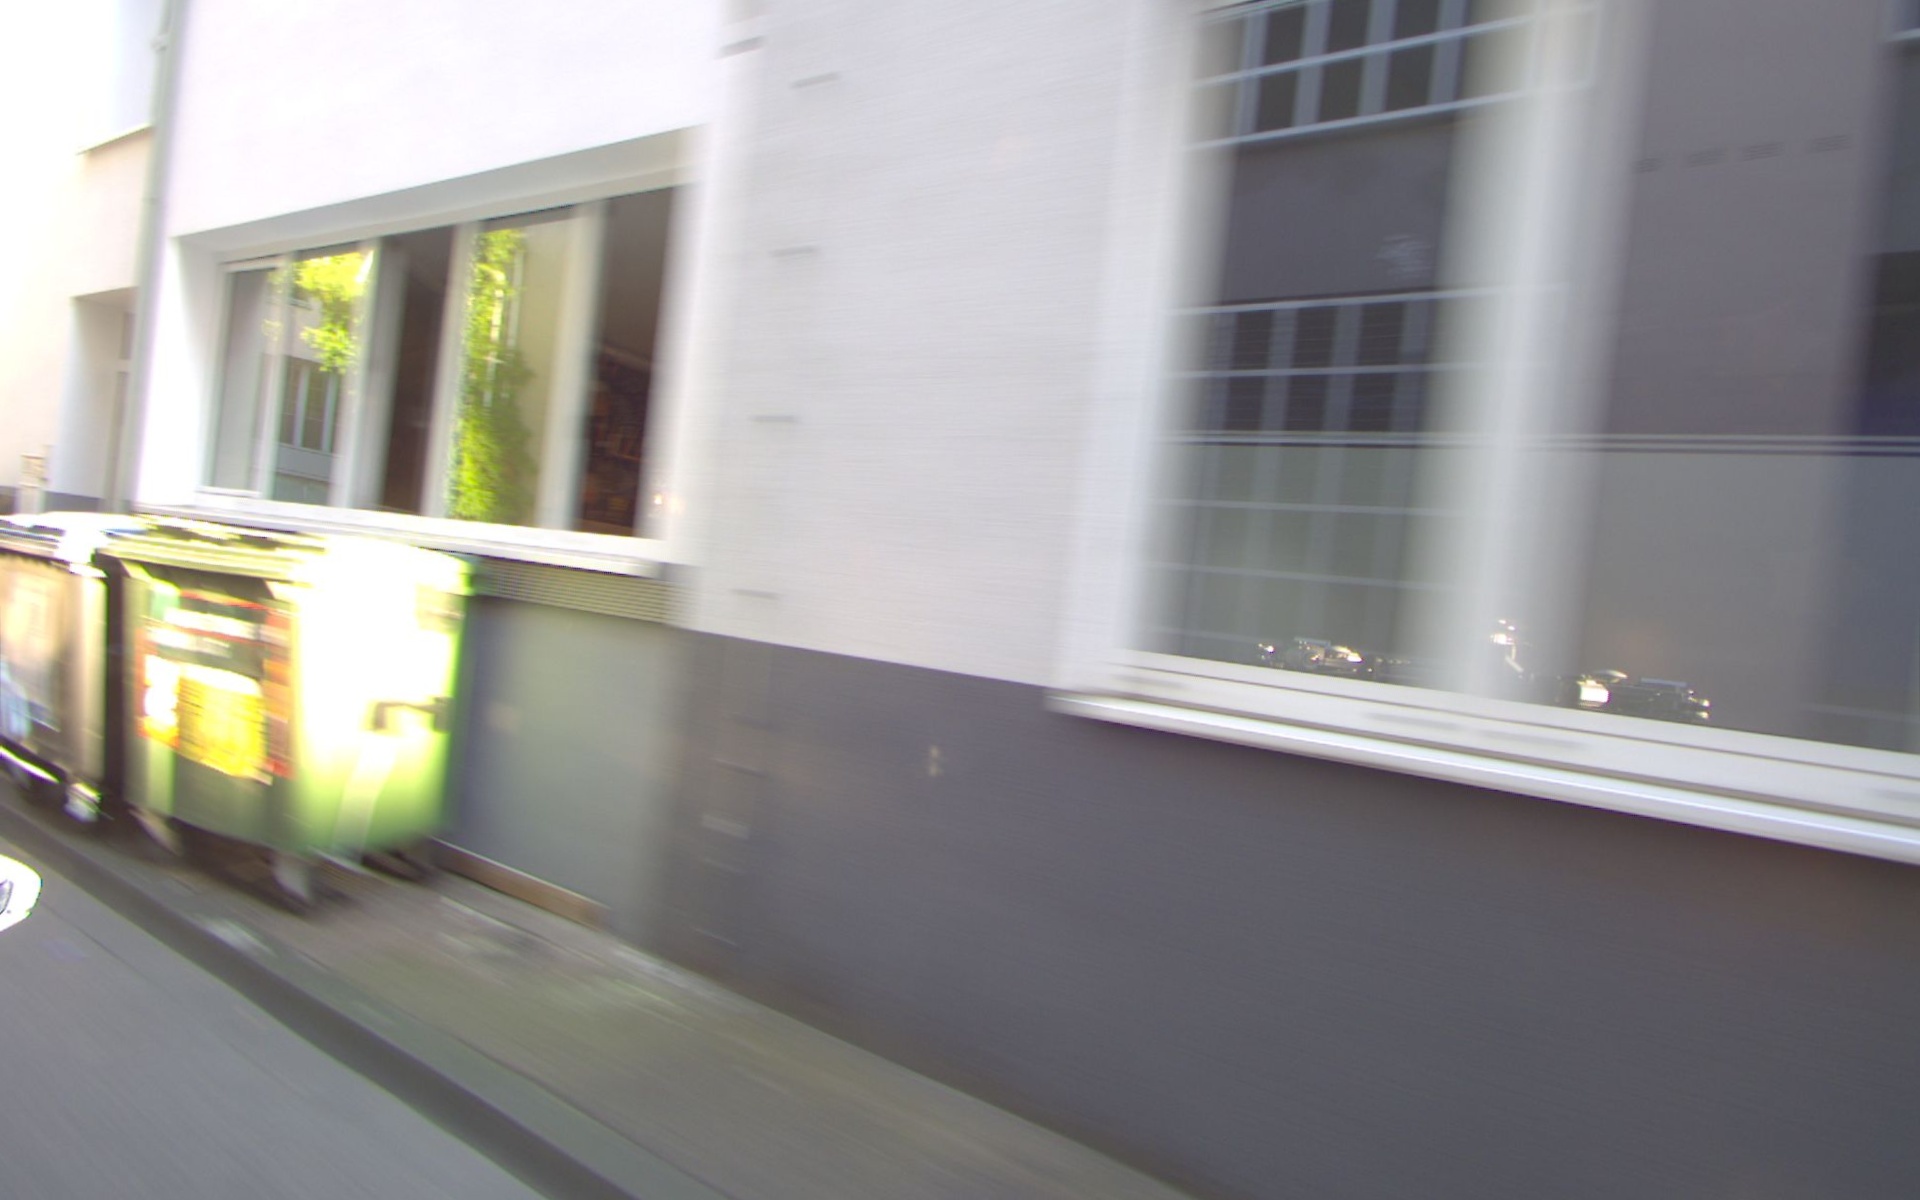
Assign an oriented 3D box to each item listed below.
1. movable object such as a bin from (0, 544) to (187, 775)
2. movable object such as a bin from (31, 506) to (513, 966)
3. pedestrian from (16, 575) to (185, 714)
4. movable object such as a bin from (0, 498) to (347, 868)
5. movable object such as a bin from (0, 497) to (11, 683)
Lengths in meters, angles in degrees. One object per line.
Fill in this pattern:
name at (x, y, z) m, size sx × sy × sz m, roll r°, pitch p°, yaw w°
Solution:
movable object such as a bin at (-4.796, 0.286, 5.313) m, size 0.726 × 1.089 × 0.869 m, roll 7°, pitch 2°, yaw 30°
movable object such as a bin at (-2.632, 0.422, 3.889) m, size 1.318 × 1.385 × 0.938 m, roll 7°, pitch 2°, yaw 25°
pedestrian at (-5.872, 0.310, 6.882) m, size 0.708 × 0.819 × 0.609 m, roll 8°, pitch -1°, yaw 31°
movable object such as a bin at (-3.786, 0.296, 4.640) m, size 1.319 × 1.385 × 1.065 m, roll 7°, pitch 2°, yaw 29°
movable object such as a bin at (-7.558, -0.144, 7.197) m, size 1.269 × 1.322 × 0.835 m, roll 7°, pitch 2°, yaw 35°
